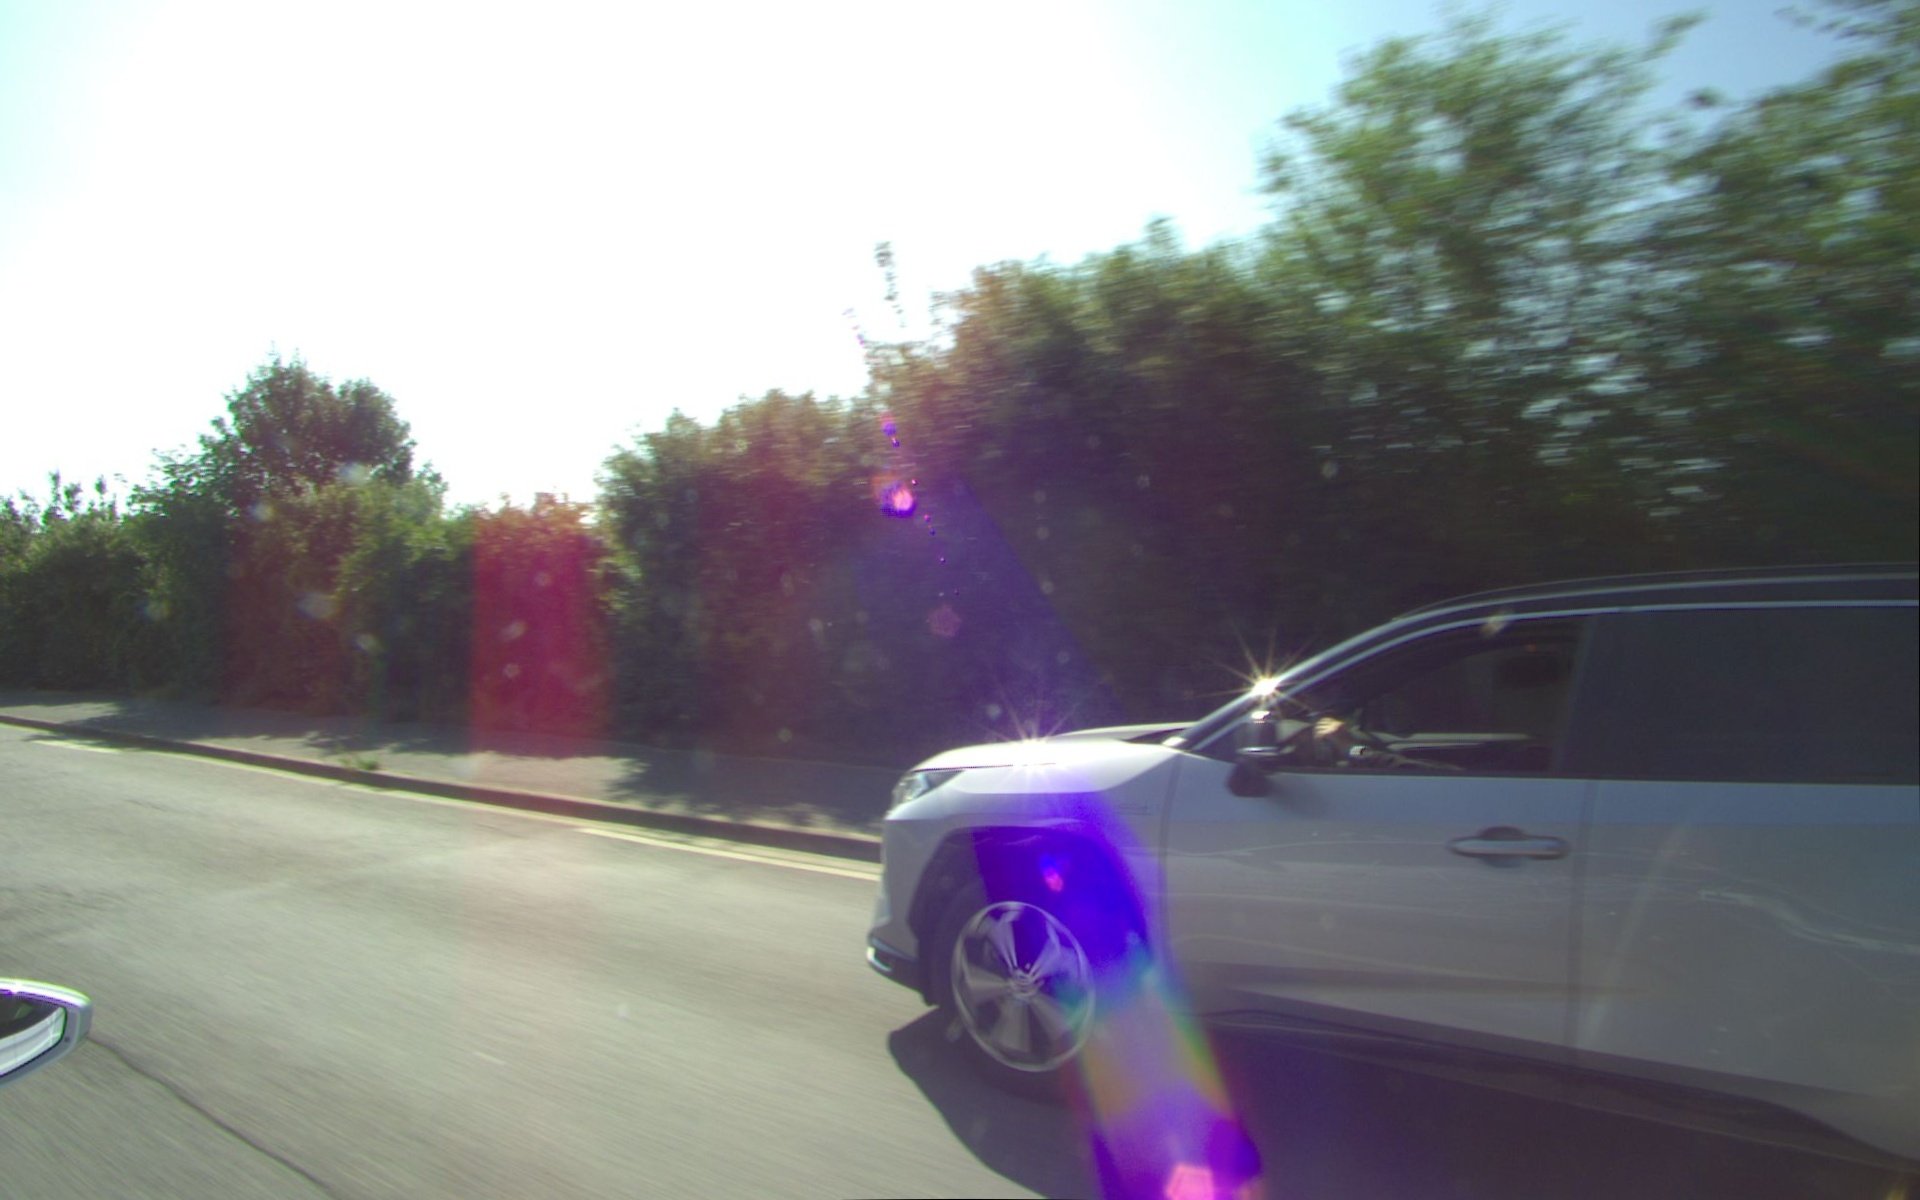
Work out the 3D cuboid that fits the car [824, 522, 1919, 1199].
[{"bbox_3d":[1.963,0.735,3.113,4.617,1.701,1.899,-1,-2,33],"label":"car"}]
